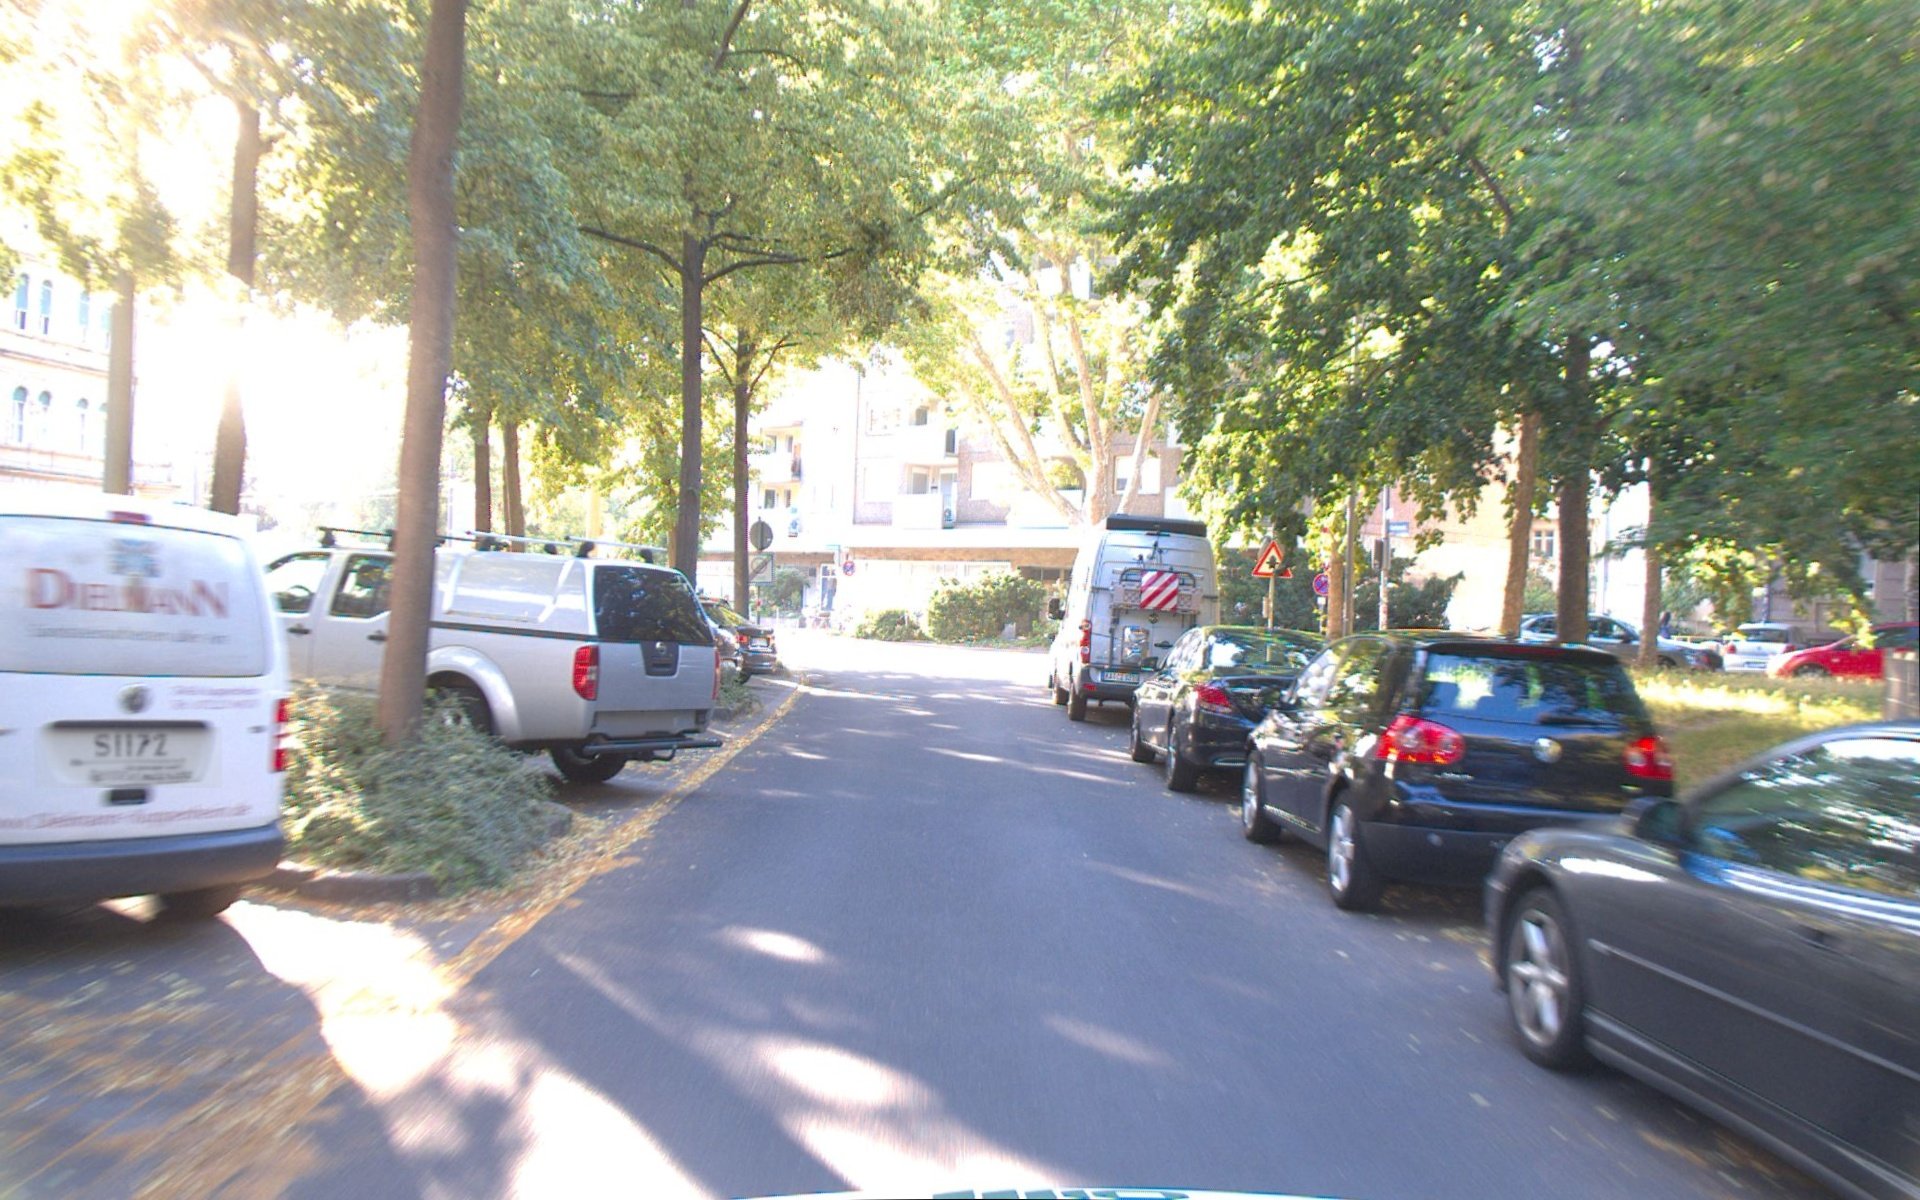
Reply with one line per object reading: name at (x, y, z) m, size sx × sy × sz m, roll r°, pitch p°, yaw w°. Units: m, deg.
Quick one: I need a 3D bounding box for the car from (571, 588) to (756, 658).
car at (-7.114, 0.547, 39.825) m, size 3.942 × 1.430 × 1.776 m, roll 3°, pitch -1°, yaw 12°

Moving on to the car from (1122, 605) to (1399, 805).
car at (2.649, 0.856, 15.609) m, size 1.646 × 1.552 × 4.488 m, roll 2°, pitch 0°, yaw -2°

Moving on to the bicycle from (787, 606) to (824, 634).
bicycle at (-5.886, 0.752, 62.870) m, size 0.631 × 1.040 × 2.069 m, roll 1°, pitch 0°, yaw -28°

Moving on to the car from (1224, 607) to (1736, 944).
car at (2.847, 0.856, 10.098) m, size 1.646 × 1.552 × 4.286 m, roll 2°, pitch 0°, yaw -2°

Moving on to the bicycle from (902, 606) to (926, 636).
bicycle at (-1.705, 0.773, 60.797) m, size 0.345 × 1.056 × 1.039 m, roll 1°, pitch 0°, yaw -37°

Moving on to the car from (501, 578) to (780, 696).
car at (-4.942, 0.563, 25.630) m, size 3.783 × 1.464 × 1.831 m, roll 5°, pitch 0°, yaw 23°

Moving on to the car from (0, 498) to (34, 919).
car at (-4.567, 0.408, 4.242) m, size 4.071 × 1.672 × 1.911 m, roll 4°, pitch 0°, yaw 30°

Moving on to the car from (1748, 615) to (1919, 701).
car at (17.055, 1.082, 30.143) m, size 4.560 × 1.475 × 1.734 m, roll 1°, pitch -2°, yaw 41°

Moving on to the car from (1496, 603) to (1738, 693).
car at (13.248, 0.953, 33.485) m, size 4.203 × 1.579 × 1.730 m, roll 1°, pitch -4°, yaw 44°

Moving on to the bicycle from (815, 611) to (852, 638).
bicycle at (-4.697, 0.902, 61.300) m, size 0.538 × 0.920 × 1.713 m, roll 2°, pitch 0°, yaw -36°

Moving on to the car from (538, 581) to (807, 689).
car at (-4.901, 0.585, 28.186) m, size 4.103 × 1.464 × 1.831 m, roll 5°, pitch 0°, yaw 23°

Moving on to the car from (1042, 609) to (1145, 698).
car at (2.475, 0.964, 31.495) m, size 1.646 × 1.471 × 3.872 m, roll 4°, pitch 0°, yaw 1°

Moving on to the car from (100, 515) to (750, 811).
car at (-4.363, 0.418, 13.393) m, size 4.889 × 1.812 × 1.986 m, roll 5°, pitch 0°, yaw 26°

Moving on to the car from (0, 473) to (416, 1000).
car at (-4.580, 0.375, 7.397) m, size 4.076 × 1.812 × 1.878 m, roll 4°, pitch 0°, yaw 34°

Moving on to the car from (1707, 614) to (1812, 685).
car at (19.495, 1.155, 40.254) m, size 1.699 × 1.498 × 3.987 m, roll 1°, pitch 1°, yaw 34°

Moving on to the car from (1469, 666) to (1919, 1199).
car at (2.924, 0.937, 4.272) m, size 1.647 × 1.305 × 4.284 m, roll 2°, pitch 0°, yaw -4°

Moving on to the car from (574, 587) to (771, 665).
car at (-6.411, 0.569, 37.025) m, size 3.889 × 1.388 × 1.776 m, roll 5°, pitch 0°, yaw 13°

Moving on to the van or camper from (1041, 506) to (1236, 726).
van or camper at (2.476, 0.205, 24.567) m, size 2.042 × 2.810 × 5.843 m, roll 2°, pitch 0°, yaw -2°

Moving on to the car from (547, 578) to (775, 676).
car at (-5.666, 0.503, 31.381) m, size 3.796 × 1.519 × 1.831 m, roll 5°, pitch 0°, yaw 24°
